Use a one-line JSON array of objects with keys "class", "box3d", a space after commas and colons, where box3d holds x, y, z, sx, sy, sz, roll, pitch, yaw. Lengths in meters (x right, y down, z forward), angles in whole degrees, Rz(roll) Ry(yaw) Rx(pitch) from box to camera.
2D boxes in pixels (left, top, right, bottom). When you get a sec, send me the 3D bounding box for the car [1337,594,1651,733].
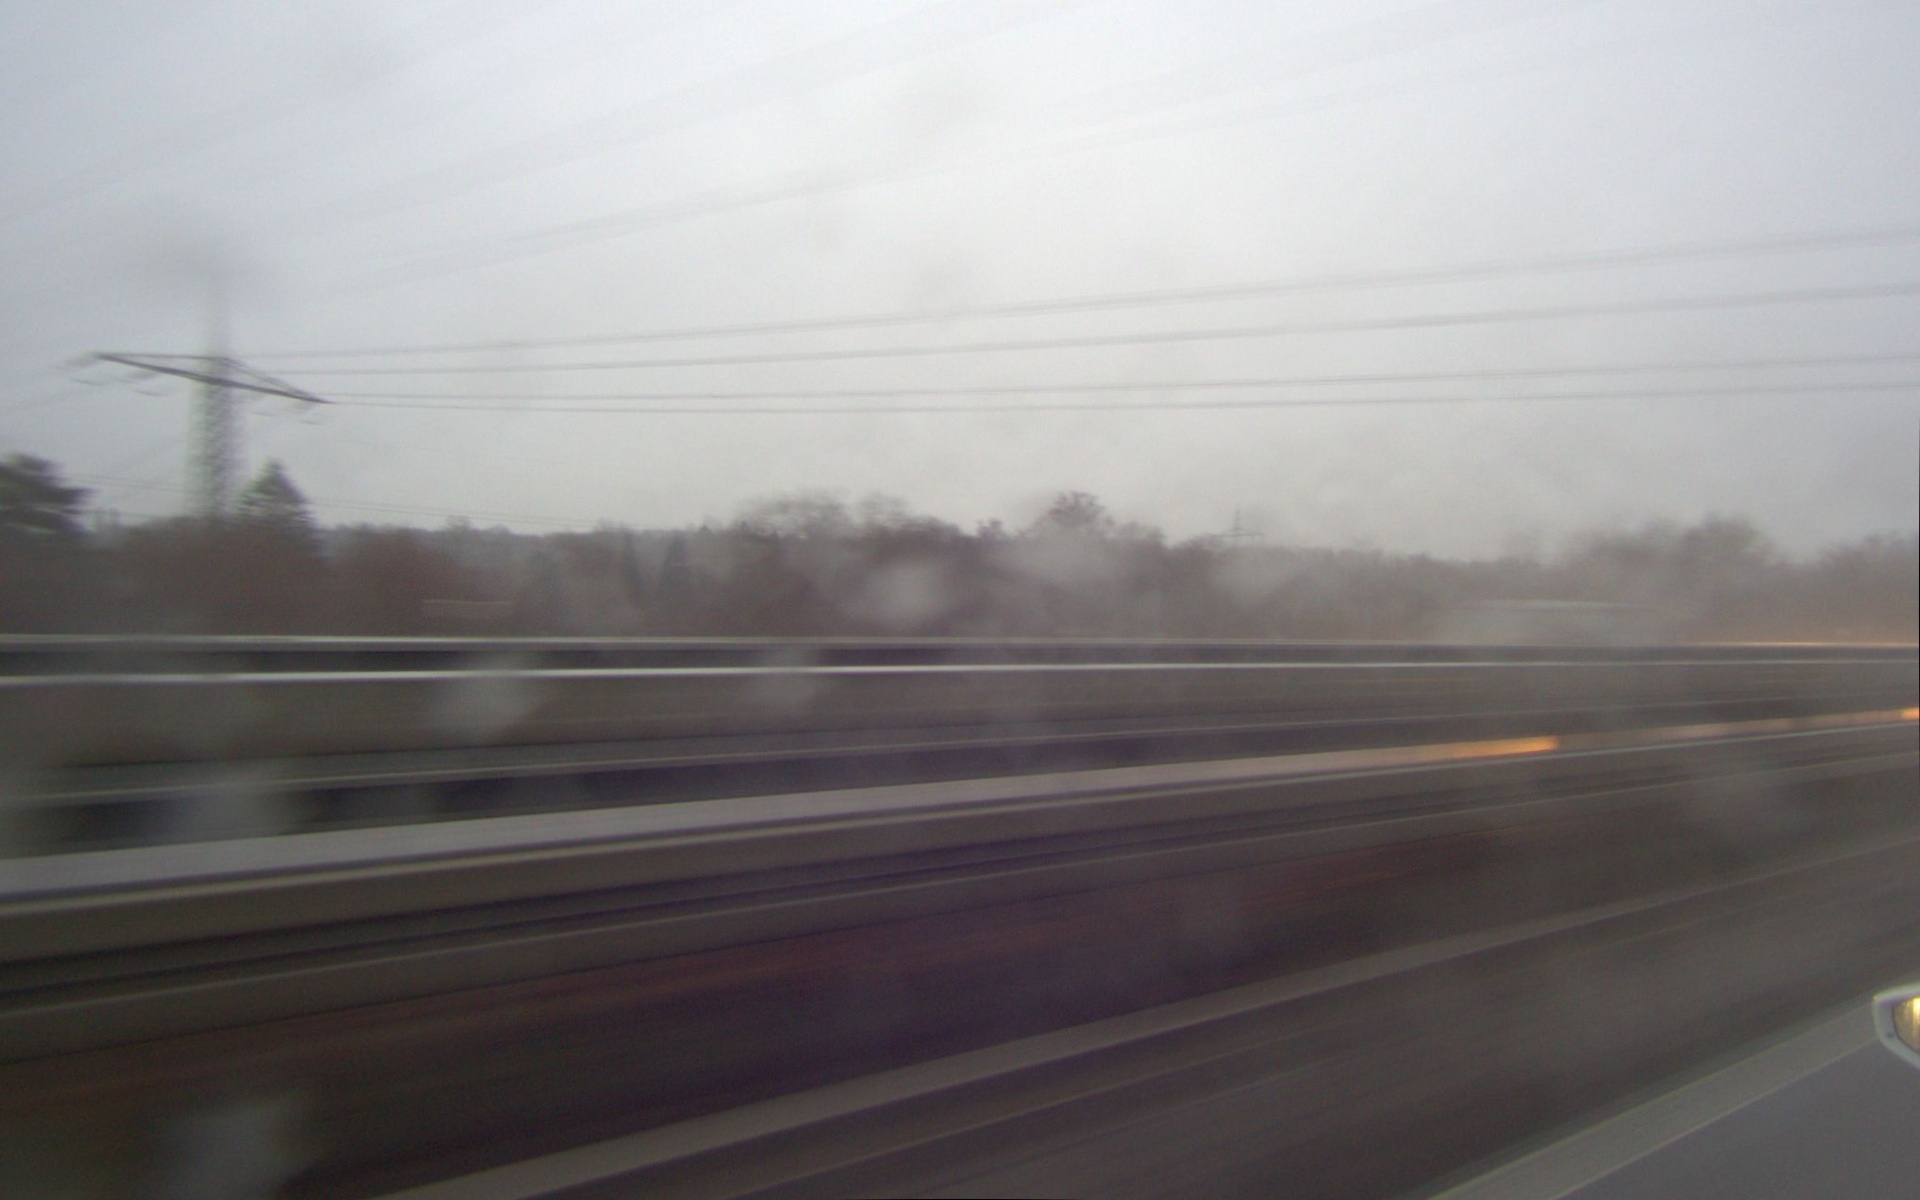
[{"class": "car", "box3d": [7.776, 0.842, 14.562, 4.349, 1.734, 2.060, 1, 0, -31]}]
